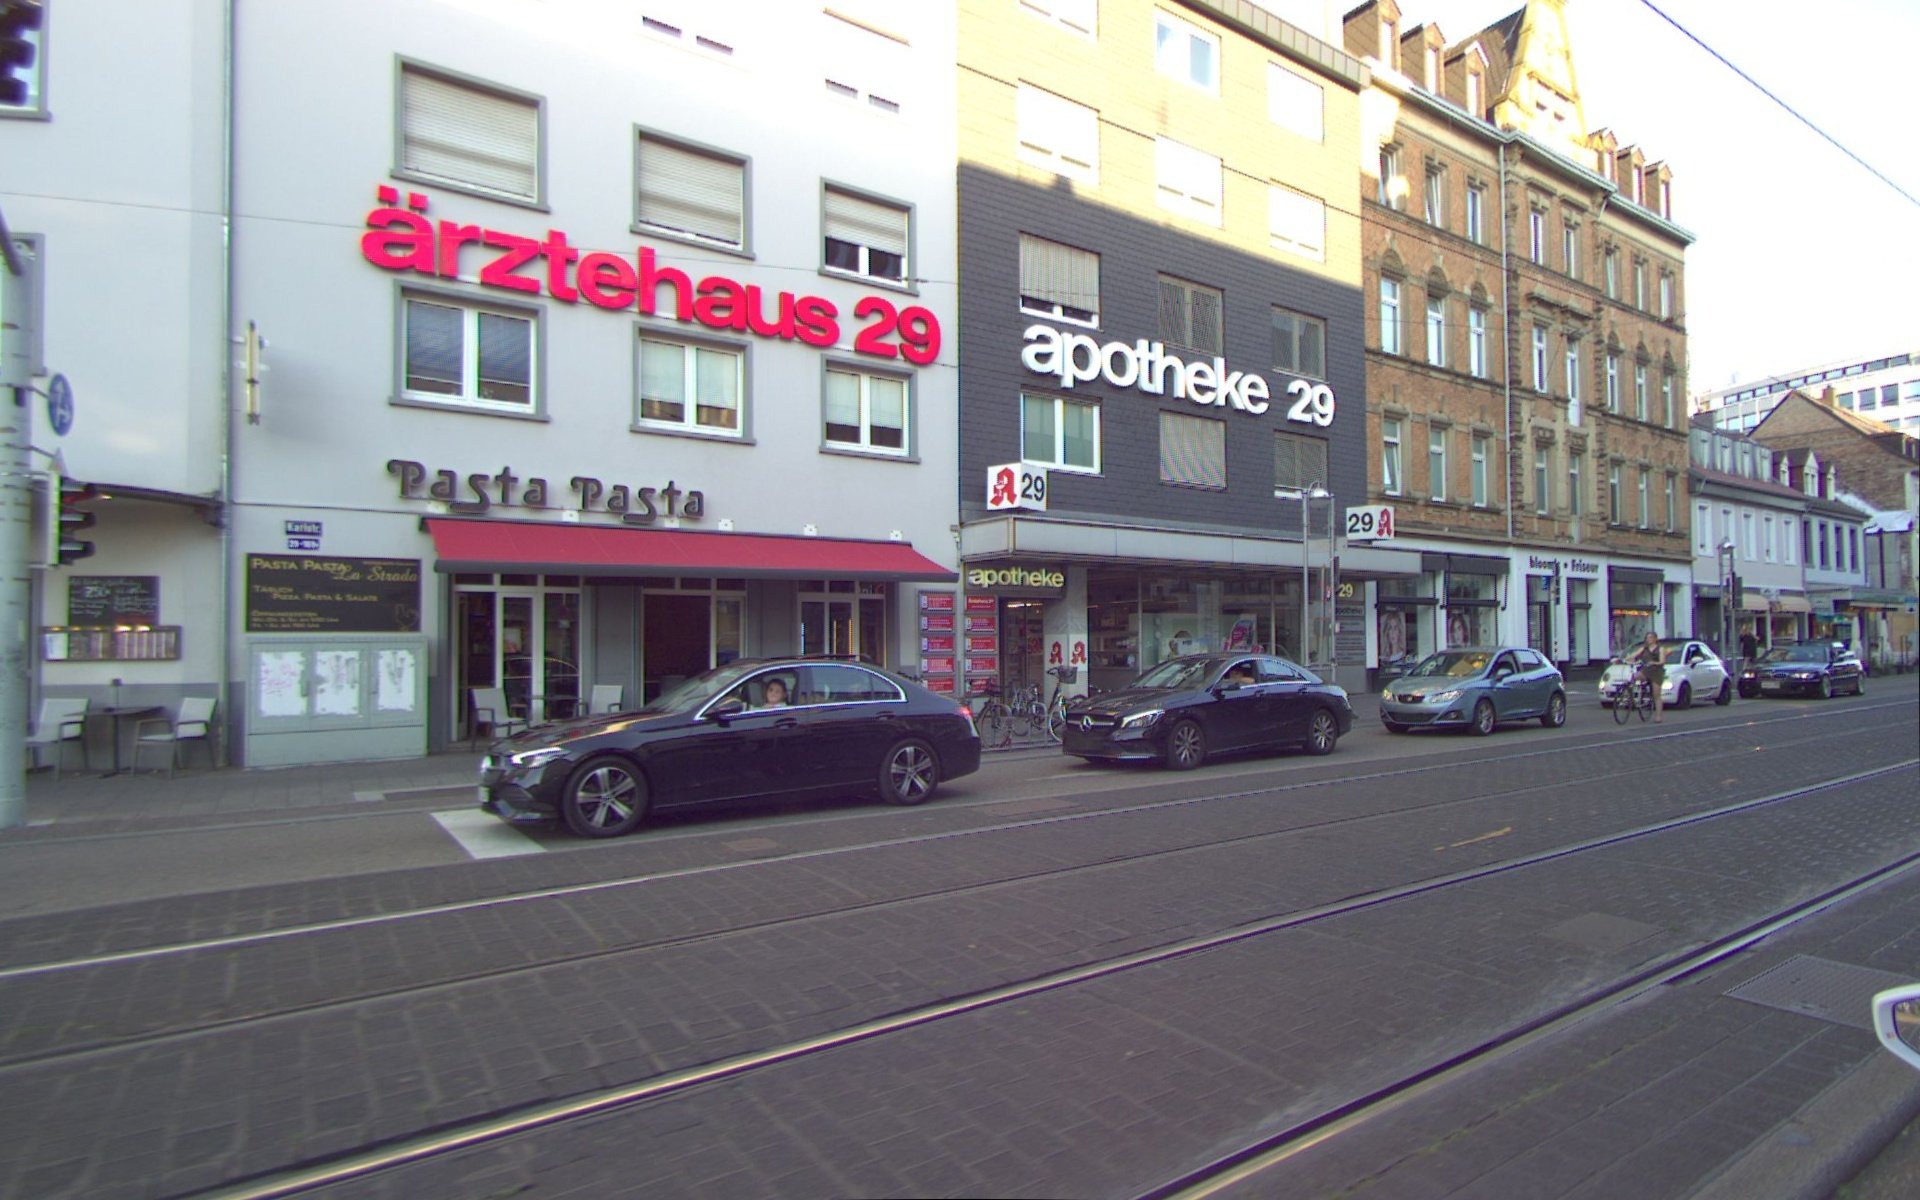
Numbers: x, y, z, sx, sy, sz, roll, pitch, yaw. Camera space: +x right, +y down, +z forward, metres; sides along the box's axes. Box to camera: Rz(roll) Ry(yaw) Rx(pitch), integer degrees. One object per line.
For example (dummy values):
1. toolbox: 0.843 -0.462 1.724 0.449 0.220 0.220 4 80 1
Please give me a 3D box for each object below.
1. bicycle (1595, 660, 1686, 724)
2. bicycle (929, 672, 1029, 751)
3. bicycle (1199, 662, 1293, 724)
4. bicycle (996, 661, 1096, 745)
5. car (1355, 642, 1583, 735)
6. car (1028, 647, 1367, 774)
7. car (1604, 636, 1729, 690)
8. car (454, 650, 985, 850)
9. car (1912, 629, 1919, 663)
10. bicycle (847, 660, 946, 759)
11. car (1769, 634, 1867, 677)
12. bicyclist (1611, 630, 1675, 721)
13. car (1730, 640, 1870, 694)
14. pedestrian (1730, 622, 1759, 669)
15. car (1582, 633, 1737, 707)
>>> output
1. bicycle: 12.307 1.641 18.150 2.061 1.047 0.688 1 -2 -36
2. bicycle: 0.261 1.688 15.472 0.601 0.997 1.845 1 0 -33
3. bicycle: 5.360 1.732 18.953 0.457 0.997 1.845 1 0 -33
4. bicycle: 1.373 1.636 16.342 0.601 1.149 1.845 1 0 -33
5. car: 8.869 1.489 17.415 4.018 1.404 1.748 1 -5 -34
6. car: 3.297 1.405 13.635 4.516 1.404 1.904 1 -5 -34
7. car: 20.694 1.786 29.383 4.233 1.408 1.746 1 0 -37
8. car: -2.155 1.243 9.480 4.516 1.404 1.904 1 -5 -34
9. car: 43.925 2.072 44.842 2.784 1.524 1.581 1 0 -35
10. bicycle: -0.961 1.557 14.720 0.601 1.243 1.845 1 0 -33
11. car: 30.798 1.956 36.047 3.824 1.408 1.723 1 0 -34
12. bicyclist: 12.380 1.347 18.209 0.791 1.586 0.689 1 -2 -36
13. car: 21.512 1.705 25.683 4.230 1.244 1.657 1 -5 -35
14. pedestrian: 30.277 1.752 38.775 0.846 1.796 0.644 1 -1 -34
15. car: 15.849 1.557 22.717 3.643 1.525 1.657 1 -5 -35
